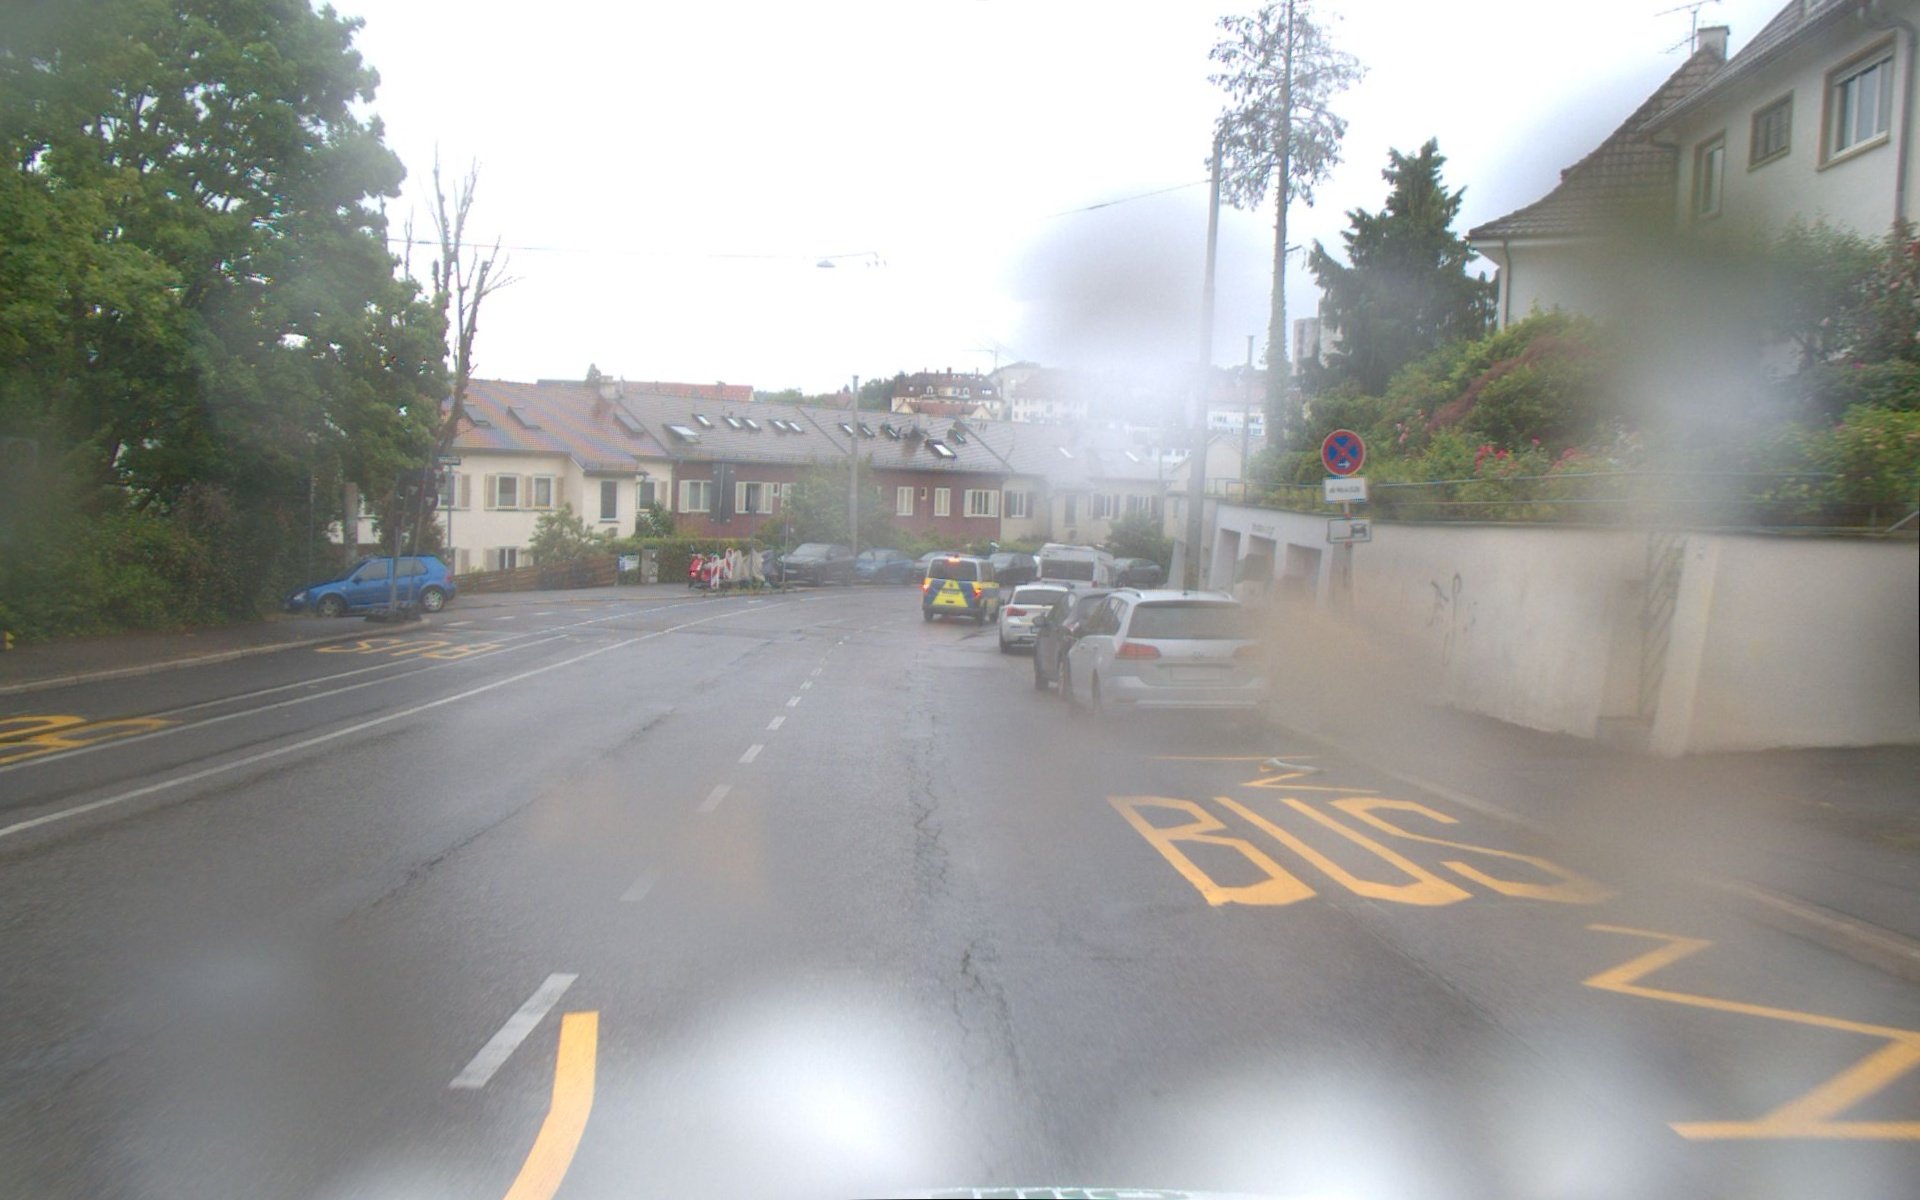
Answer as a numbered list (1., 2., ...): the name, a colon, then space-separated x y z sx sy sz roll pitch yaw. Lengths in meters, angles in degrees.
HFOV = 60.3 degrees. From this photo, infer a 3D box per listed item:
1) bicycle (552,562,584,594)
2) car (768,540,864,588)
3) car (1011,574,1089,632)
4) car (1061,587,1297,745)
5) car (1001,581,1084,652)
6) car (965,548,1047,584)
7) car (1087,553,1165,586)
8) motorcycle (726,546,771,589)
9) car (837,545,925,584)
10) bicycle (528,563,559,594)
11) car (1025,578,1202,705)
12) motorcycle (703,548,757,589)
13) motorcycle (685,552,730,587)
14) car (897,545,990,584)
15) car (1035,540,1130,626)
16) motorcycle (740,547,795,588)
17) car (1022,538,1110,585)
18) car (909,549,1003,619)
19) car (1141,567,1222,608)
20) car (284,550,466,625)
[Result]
1. bicycle: -13.506 -0.758 56.956 1.278 1.053 0.304 -1 -3 37
2. car: -5.535 -1.410 64.057 1.883 1.603 4.389 6 4 21
3. car: 2.691 0.060 48.718 1.716 1.521 4.188 2 2 10
4. car: 2.183 0.602 17.679 1.745 1.445 4.428 1 1 -2
5. car: 1.772 0.316 36.704 1.670 1.439 4.042 2 1 1
6. car: 2.212 -1.608 78.498 1.777 1.501 4.511 6 4 32
7. car: 8.863 -1.614 87.949 1.783 1.501 4.495 7 4 41
8. motorcycle: -7.535 -1.156 58.755 0.608 1.325 1.781 2 5 -42
9. car: -3.267 -1.490 68.932 1.667 1.428 4.470 7 4 25
10. bicycle: -14.567 -0.736 57.849 1.302 1.053 0.304 -1 -3 39
11. car: 2.011 0.499 22.721 1.680 1.539 3.996 1 1 -6
12. motorcycle: -8.030 -1.119 57.824 1.765 1.301 0.511 5 3 20
13. motorcycle: -8.570 -1.053 56.228 0.499 1.159 1.920 2 2 26
14. car: -0.709 -1.559 73.730 1.778 1.501 4.507 7 4 34
15. car: 4.088 -0.557 54.165 2.054 2.586 5.624 2 1 15
16. motorcycle: -7.021 -1.184 60.205 1.867 1.292 0.574 4 3 -12
17. car: 5.395 -1.916 83.368 1.820 2.114 4.998 7 4 38
18. car: -0.060 -0.510 50.956 2.259 1.973 4.329 2 1 8
19. car: 9.181 -0.499 68.212 1.649 1.508 4.191 6 3 32
20. car: -14.601 -0.299 41.366 3.902 1.695 1.817 2 0 -39
